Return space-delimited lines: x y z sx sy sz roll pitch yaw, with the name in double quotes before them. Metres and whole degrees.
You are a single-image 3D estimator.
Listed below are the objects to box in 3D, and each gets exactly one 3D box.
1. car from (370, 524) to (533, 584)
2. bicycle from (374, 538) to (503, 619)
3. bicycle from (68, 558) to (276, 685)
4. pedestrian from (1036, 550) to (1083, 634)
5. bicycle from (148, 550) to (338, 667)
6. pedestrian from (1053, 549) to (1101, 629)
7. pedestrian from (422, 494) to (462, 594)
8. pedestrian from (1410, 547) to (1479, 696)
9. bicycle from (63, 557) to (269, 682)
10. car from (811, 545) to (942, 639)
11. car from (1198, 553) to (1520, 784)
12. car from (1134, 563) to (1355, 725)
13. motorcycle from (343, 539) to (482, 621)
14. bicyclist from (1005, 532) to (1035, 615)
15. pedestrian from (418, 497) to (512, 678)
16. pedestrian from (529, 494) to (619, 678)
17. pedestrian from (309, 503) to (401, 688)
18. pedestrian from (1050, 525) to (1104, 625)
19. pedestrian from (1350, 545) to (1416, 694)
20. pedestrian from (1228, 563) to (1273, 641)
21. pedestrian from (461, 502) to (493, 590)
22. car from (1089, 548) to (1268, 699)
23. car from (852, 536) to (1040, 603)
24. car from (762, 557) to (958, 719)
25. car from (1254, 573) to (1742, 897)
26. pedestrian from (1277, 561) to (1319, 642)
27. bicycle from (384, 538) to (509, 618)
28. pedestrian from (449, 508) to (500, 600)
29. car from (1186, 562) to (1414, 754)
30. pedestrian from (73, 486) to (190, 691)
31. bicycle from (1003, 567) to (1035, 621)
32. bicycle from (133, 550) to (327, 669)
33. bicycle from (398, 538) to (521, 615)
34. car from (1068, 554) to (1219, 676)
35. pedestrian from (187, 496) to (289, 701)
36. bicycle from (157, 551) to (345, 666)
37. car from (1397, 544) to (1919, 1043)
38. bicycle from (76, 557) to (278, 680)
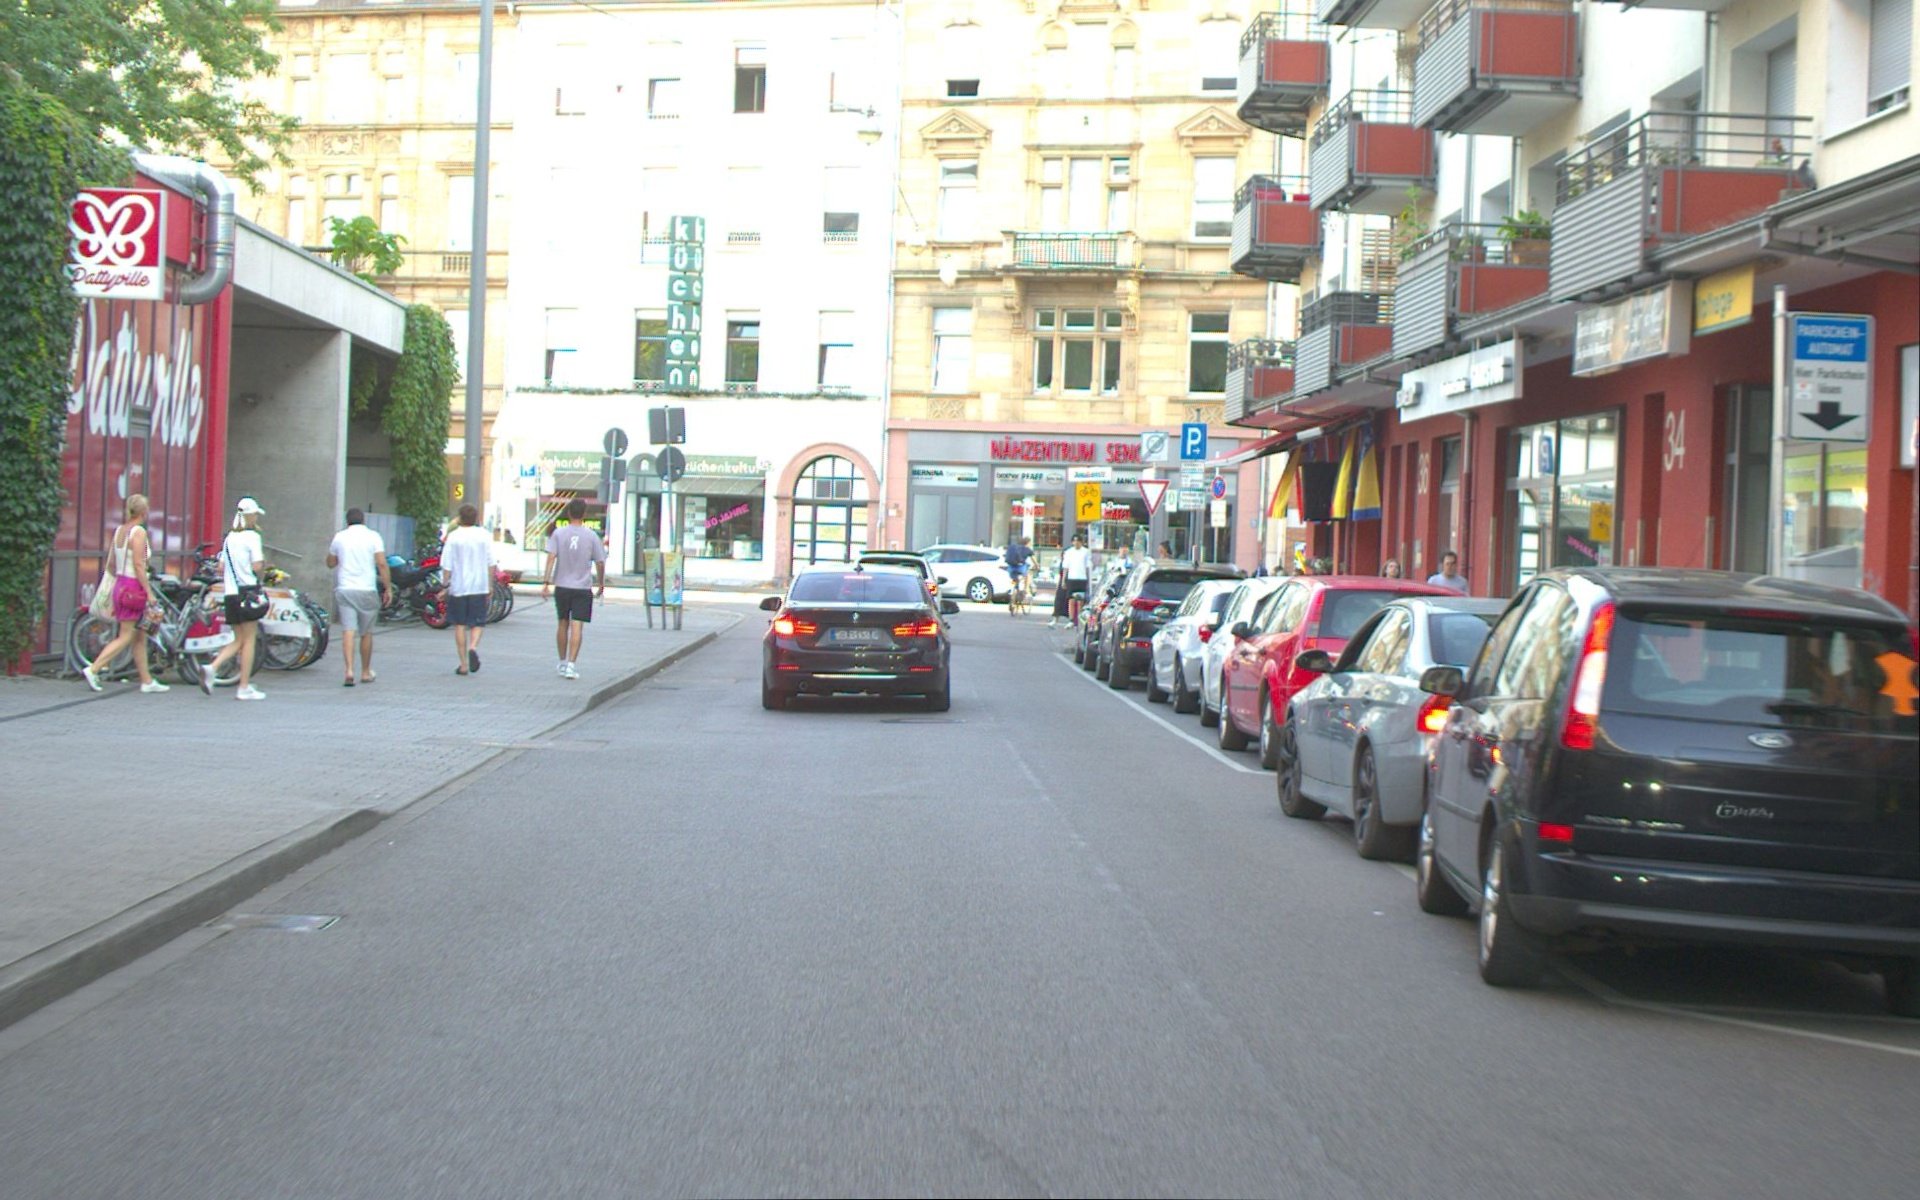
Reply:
"car" -13.812 -1.254 93.433 3.991 1.505 1.798 2 0 22
"bicycle" -7.802 -0.328 51.442 1.794 1.104 0.500 3 1 1
"bicycle" -7.356 0.192 32.118 1.794 1.104 0.500 2 1 -1
"pedestrian" 1.982 -0.160 68.277 0.724 1.603 0.650 3 1 -10
"bicycle" -7.348 0.085 35.272 1.794 1.104 0.500 3 1 2
"pedestrian" 2.303 -0.216 67.614 0.735 1.508 0.650 3 1 -10
"pedestrian" -9.878 -1.075 65.579 0.583 1.876 0.633 2 1 5
"pedestrian" 5.453 0.237 38.743 0.648 1.655 0.794 -1 1 1
"bicycle" -7.492 0.182 32.462 1.794 1.104 0.500 2 1 -2
"car" -1.373 -0.163 57.863 1.877 1.468 4.000 2 1 3
"car" 3.071 0.467 27.376 1.712 1.507 4.653 4 1 -3
"car" 3.003 0.426 37.089 1.698 1.447 4.459 4 1 -3
"motorcycle" -7.876 -0.289 49.414 1.802 1.060 0.763 4 1 25
"bicyclist" 1.269 -0.565 73.087 0.524 1.750 0.620 3 1 5
"pedestrian" -5.157 -0.139 35.873 0.741 1.806 1.009 4 1 -2
"pedestrian" -4.102 -0.158 36.575 0.744 1.887 1.050 3 1 0
"pedestrian" -5.868 -0.047 33.358 0.717 1.748 0.848 2 1 -2
"pedestrian" 2.249 -0.484 66.124 0.676 1.871 0.701 2 1 -38
"pedestrian" 4.784 0.217 38.863 0.648 1.655 0.655 -1 1 1
"pedestrian" 4.849 0.025 57.334 0.687 1.282 0.608 1 0 8
"pedestrian" -9.132 -1.026 65.028 0.500 1.637 0.520 1 1 1
"car" 2.709 0.245 43.623 1.765 1.636 4.791 4 1 -1
"car" -0.353 -0.778 87.523 4.356 1.557 1.866 2 0 22
"car" -0.953 0.322 34.398 1.765 1.370 4.791 3 1 -1
"car" 2.889 0.658 19.511 1.736 1.410 4.683 4 1 -3
"pedestrian" 5.675 0.015 57.702 0.606 1.343 0.696 0 1 -2
"bicycle" -7.795 -0.340 52.192 1.794 1.104 0.500 3 1 -6
"pedestrian" -9.379 -0.890 66.404 0.673 1.740 0.655 2 1 39
"car" 3.091 0.481 31.912 1.606 1.507 4.048 4 1 0
"pedestrian" -7.292 -0.109 30.279 0.753 1.743 0.846 3 1 -2
"bicycle" 1.260 -0.135 73.116 0.536 1.104 1.800 3 1 5
"bicycle" -7.352 0.091 34.639 1.794 1.104 0.500 3 1 2
"bicycle" -7.838 -0.368 53.852 1.794 1.104 0.500 3 1 -1
"car" 2.587 0.174 49.513 1.765 1.497 4.791 4 1 -1
"pedestrian" -6.338 -0.026 30.201 0.649 1.744 0.986 2 1 -2
"bicycle" -7.364 0.081 35.742 1.794 1.104 0.500 3 1 2
"car" 2.912 0.643 14.133 1.794 1.604 4.486 4 1 3
"bicycle" -7.505 0.173 32.998 1.794 1.104 0.500 2 1 -2
